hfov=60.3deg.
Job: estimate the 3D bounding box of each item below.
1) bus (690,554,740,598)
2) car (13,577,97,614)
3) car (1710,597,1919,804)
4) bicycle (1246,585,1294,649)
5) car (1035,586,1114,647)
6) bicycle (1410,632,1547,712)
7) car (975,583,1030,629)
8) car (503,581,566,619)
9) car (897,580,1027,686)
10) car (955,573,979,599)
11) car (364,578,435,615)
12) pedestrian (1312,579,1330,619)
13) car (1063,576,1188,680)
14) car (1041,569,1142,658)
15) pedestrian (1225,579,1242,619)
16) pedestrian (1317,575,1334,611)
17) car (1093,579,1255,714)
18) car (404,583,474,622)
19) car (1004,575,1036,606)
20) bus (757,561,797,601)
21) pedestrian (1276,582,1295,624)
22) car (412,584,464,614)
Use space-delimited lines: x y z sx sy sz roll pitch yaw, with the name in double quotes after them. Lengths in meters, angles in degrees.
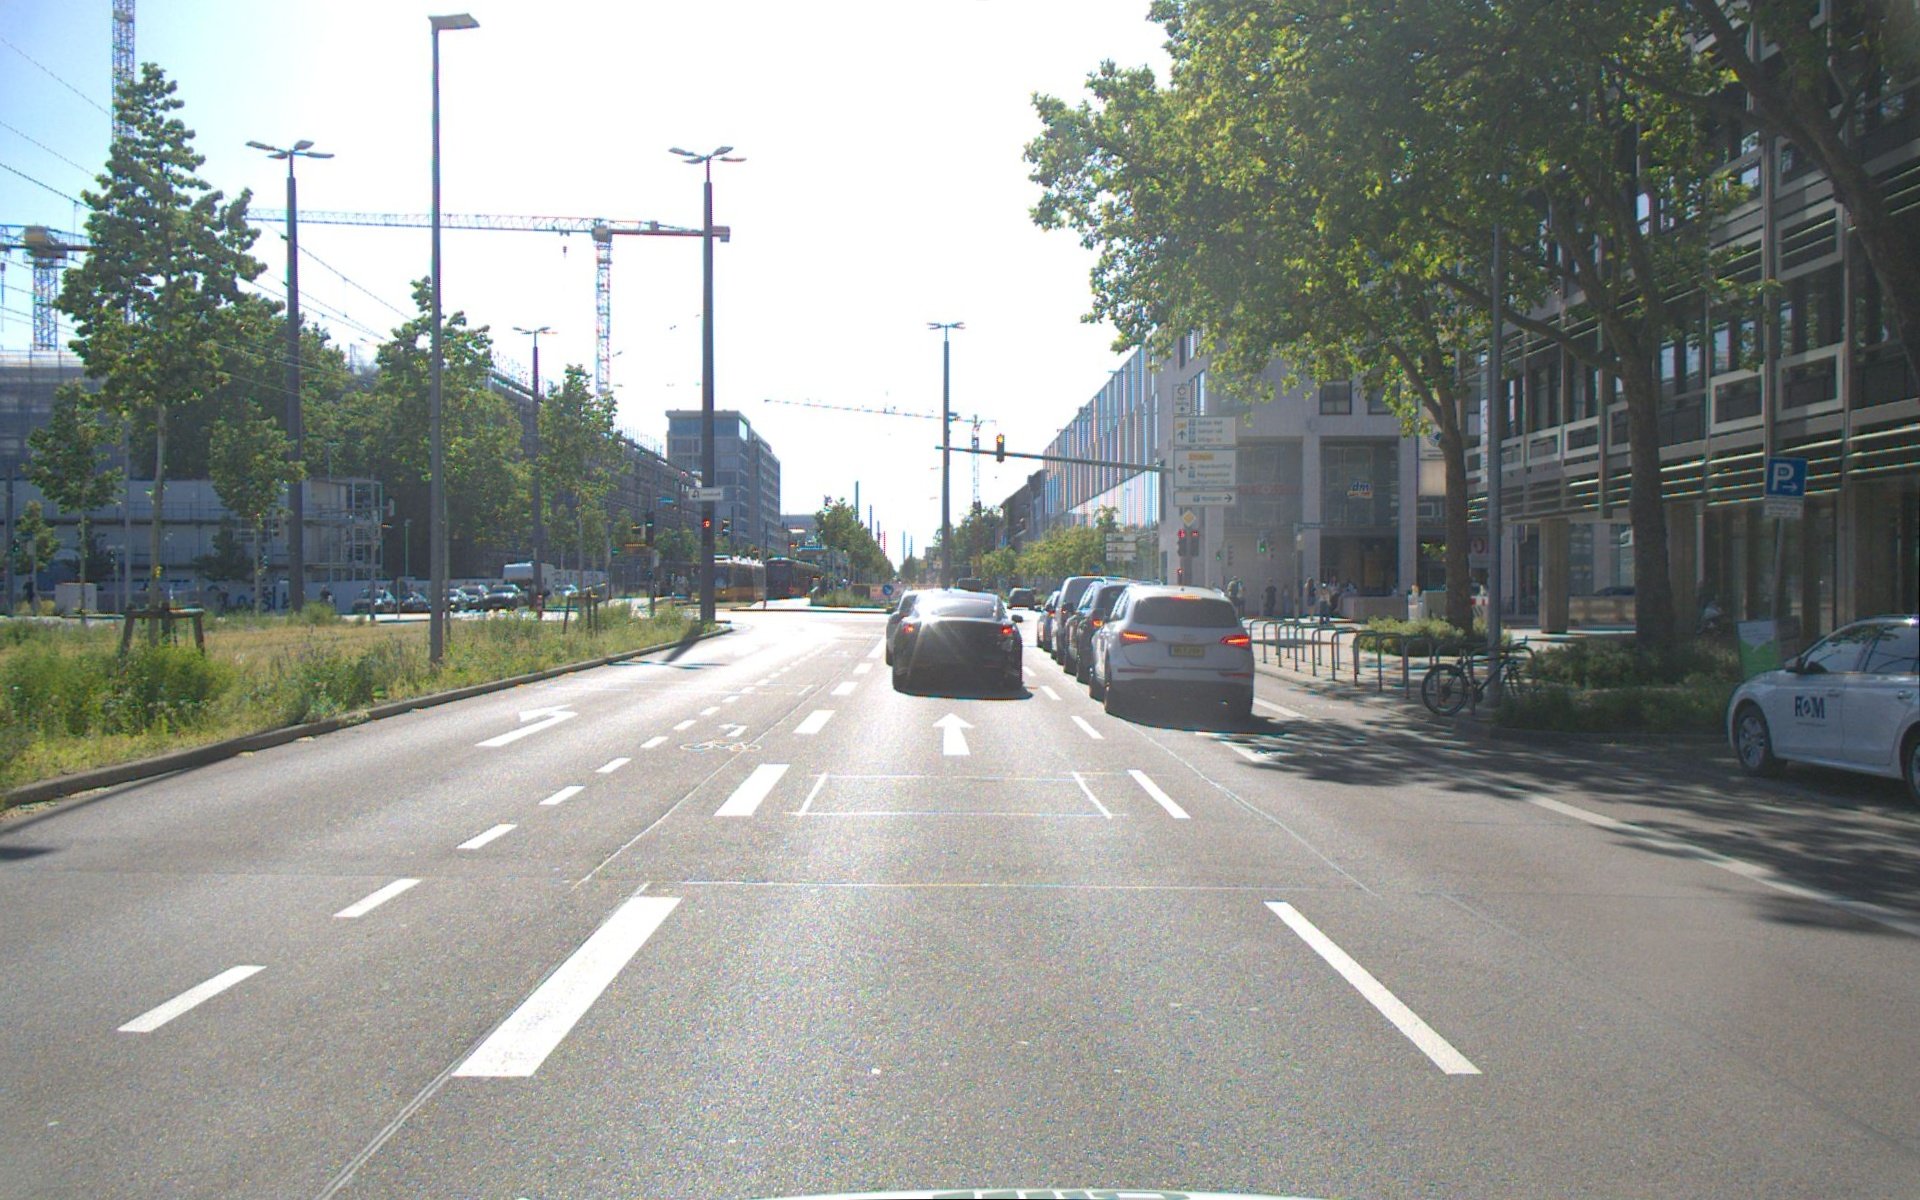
-17.191 -1.605 116.436 2.575 2.831 8.838 2 0 -3 "bus"
-41.718 -0.202 76.355 1.676 1.583 3.999 2 0 -1 "car"
8.044 0.761 13.549 1.669 1.518 4.600 0 1 -1 "car"
7.403 0.406 39.592 0.551 1.466 2.575 2 0 -2 "bicycle"
2.851 0.383 41.946 1.686 1.456 4.186 0 1 0 "car"
6.839 0.941 21.828 1.660 0.974 0.478 -1 1 -5 "bicycle"
1.381 0.162 54.828 1.686 1.456 4.186 0 1 0 "car"
-14.498 0.005 56.444 1.348 1.199 3.219 2 0 -1 "car"
-0.025 0.456 25.836 1.873 1.512 4.008 0 1 -2 "car"
0.579 -1.189 138.976 1.953 2.049 3.999 2 0 -1 "car"
-19.178 -0.113 56.690 1.348 1.199 3.219 2 0 -1 "car"
13.373 -0.023 61.226 0.550 1.466 0.632 2 -1 6 "pedestrian"
2.826 0.430 29.014 1.686 1.682 4.185 0 1 -1 "car"
2.769 0.249 35.694 1.687 1.813 4.184 0 1 -2 "car"
10.163 -0.035 61.438 0.550 1.466 0.632 2 -1 6 "pedestrian"
15.018 -0.278 67.965 0.550 1.466 0.632 2 -1 6 "pedestrian"
2.780 0.539 22.248 1.686 1.646 4.187 0 1 1 "car"
-17.336 0.087 55.167 1.348 1.199 3.219 2 0 -1 "car"
4.089 -0.641 113.428 1.953 2.049 3.999 2 0 -1 "car"
-14.717 -1.467 133.393 2.575 3.011 9.892 2 0 -3 "bus"
11.482 0.118 58.335 0.550 1.466 0.632 2 -1 6 "pedestrian"
-30.384 -0.048 96.319 1.800 1.641 3.894 2 0 -1 "car"
